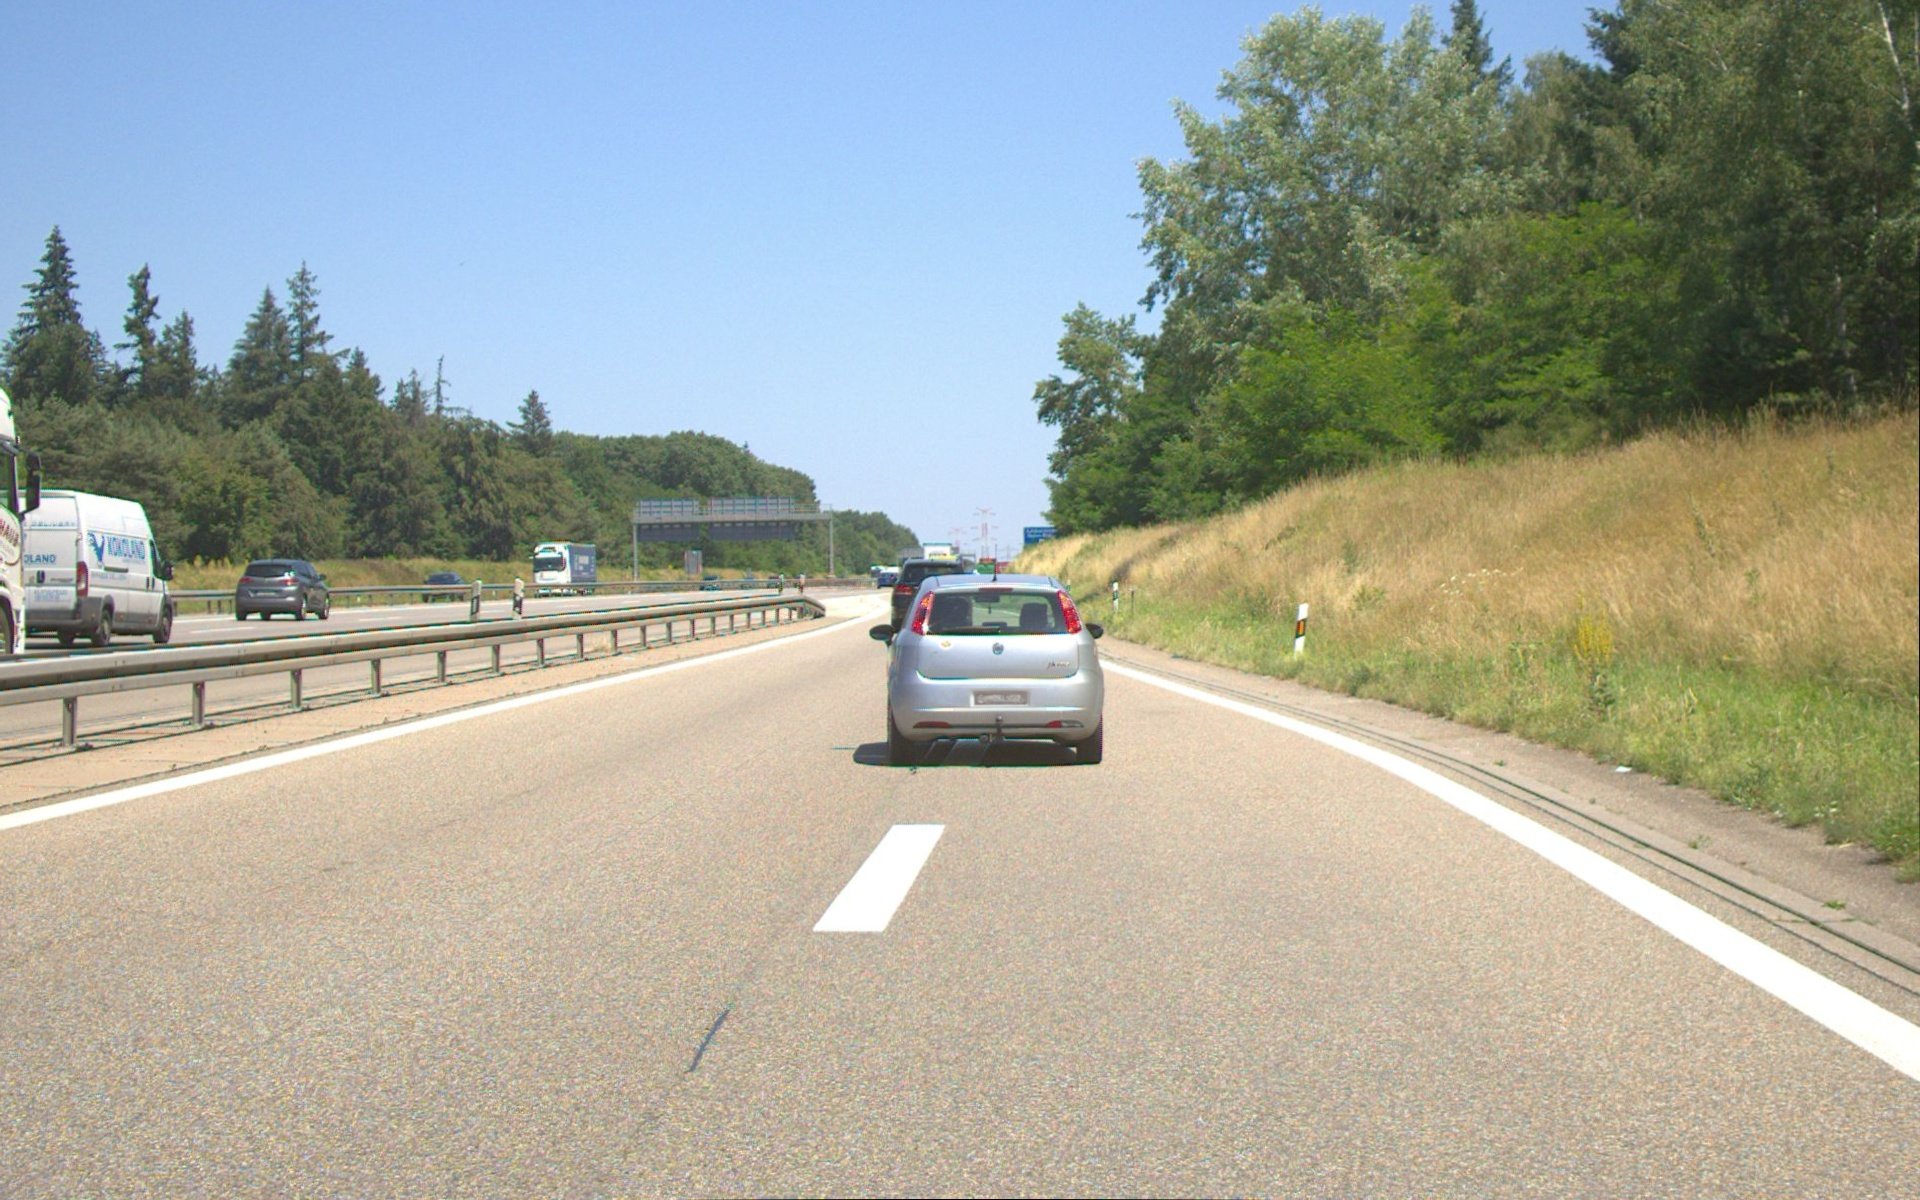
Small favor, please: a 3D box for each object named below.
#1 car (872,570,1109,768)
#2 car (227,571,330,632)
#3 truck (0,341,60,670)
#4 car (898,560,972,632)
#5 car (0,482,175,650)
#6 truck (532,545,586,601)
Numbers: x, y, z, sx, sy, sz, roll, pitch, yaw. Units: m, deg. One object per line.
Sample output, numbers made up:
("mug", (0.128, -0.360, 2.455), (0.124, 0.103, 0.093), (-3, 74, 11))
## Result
("car", (0.188, 0.507, 27.547), (1.706, 1.477, 3.398), (0, 0, -3))
("car", (-18.402, 0.054, 92.948), (1.993, 1.612, 4.000), (0, -1, 0))
("truck", (-12.476, -1.093, 39.740), (2.756, 3.794, 4.621), (0, 1, 3))
("car", (-0.603, -0.080, 81.713), (1.706, 1.670, 3.398), (0, -1, -1))
("car", (-16.267, -0.559, 62.331), (2.632, 2.887, 6.475), (0, -1, 0))
("truck", (-30.218, -1.994, 259.483), (2.586, 4.113, 9.322), (0, -1, 3))
